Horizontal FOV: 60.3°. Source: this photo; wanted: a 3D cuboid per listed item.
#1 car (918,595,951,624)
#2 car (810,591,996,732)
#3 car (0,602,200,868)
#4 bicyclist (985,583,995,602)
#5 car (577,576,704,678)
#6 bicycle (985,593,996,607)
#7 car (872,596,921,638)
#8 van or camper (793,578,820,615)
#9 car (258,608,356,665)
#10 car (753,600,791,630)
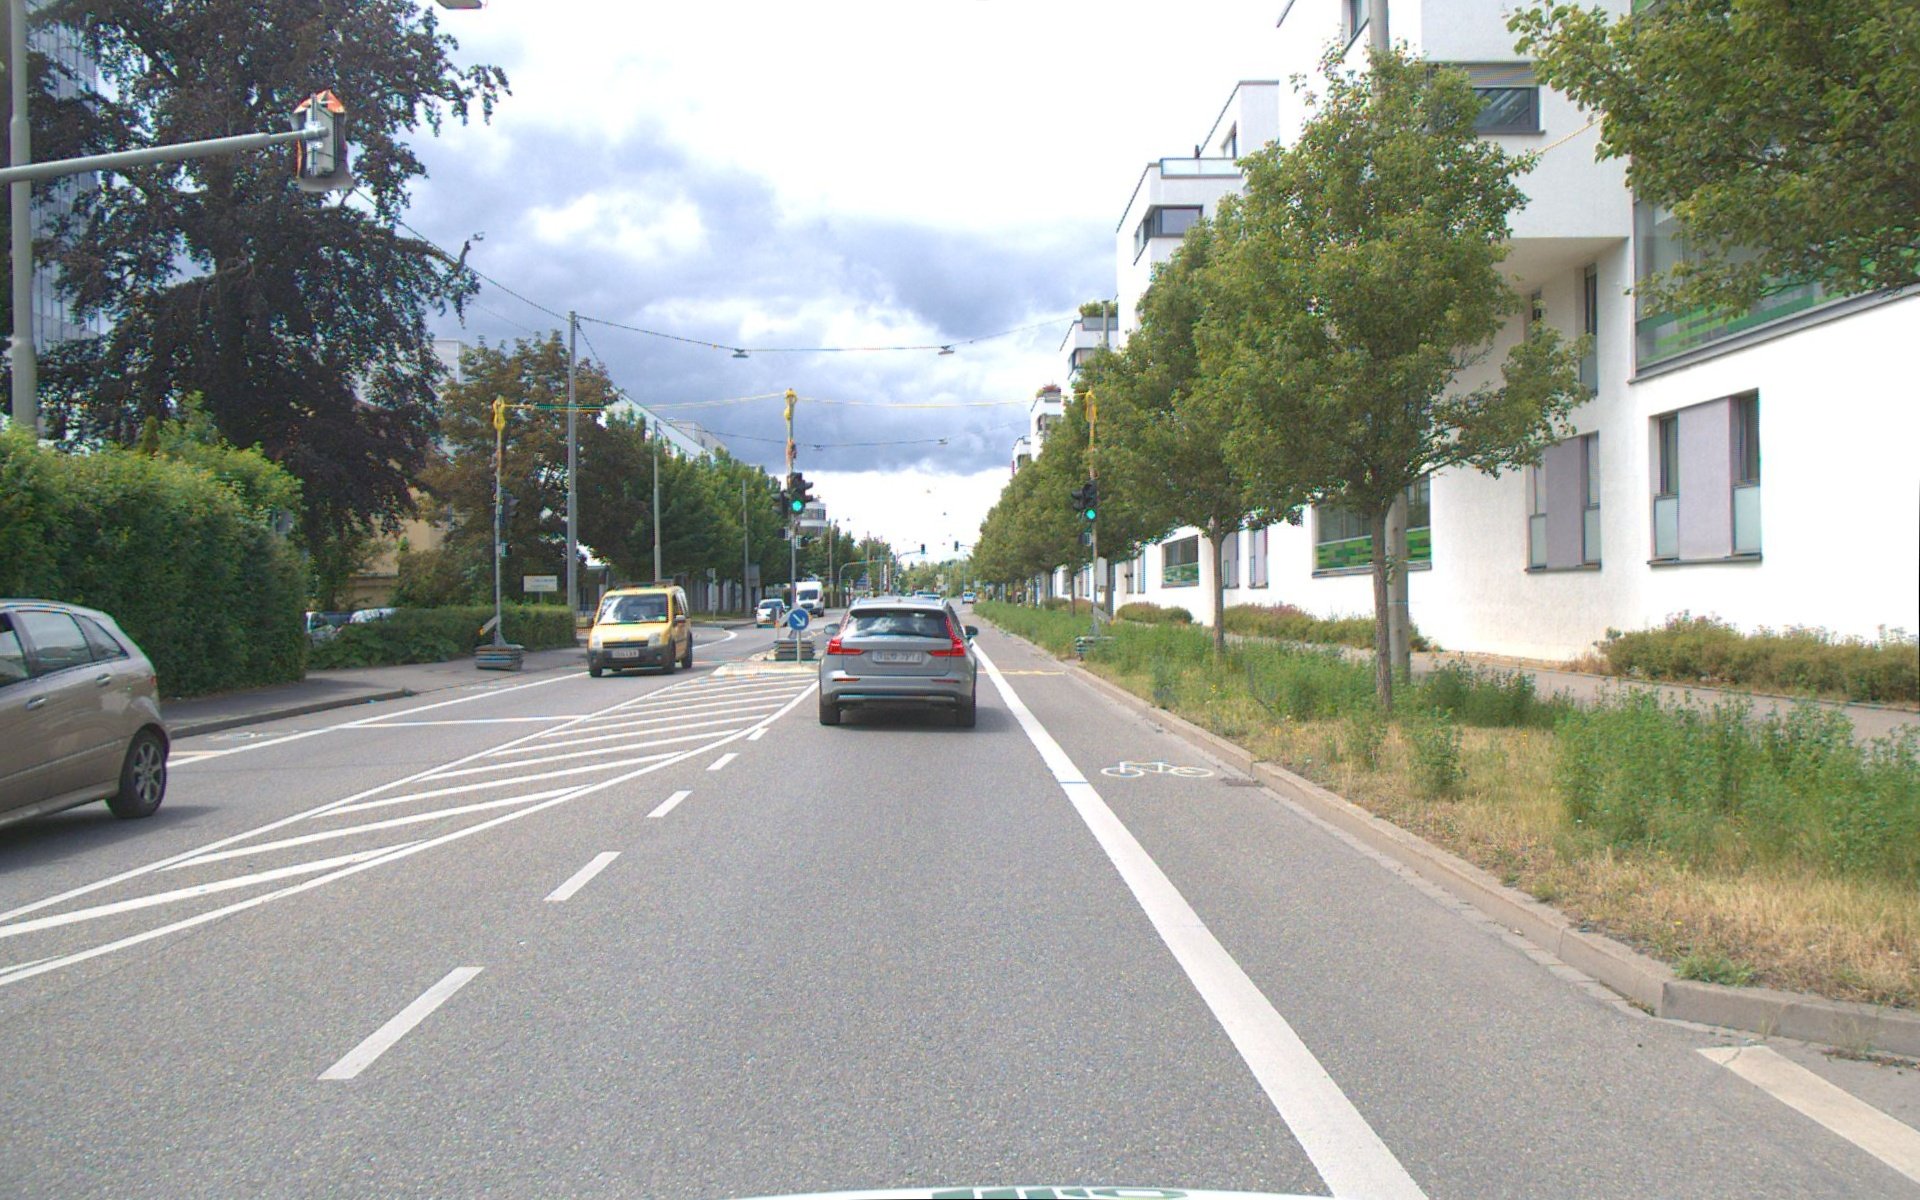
[{"bbox_3d":[-1.473,0.513,92.664,1.807,1.539,3.999,0,0,-2],"label":"car"},{"bbox_3d":[-0.591,0.674,20.305,1.815,1.539,4.002,1,0,5],"label":"car"},{"bbox_3d":[-6.654,0.845,10.414,1.714,1.583,4.401,-2,0,-1],"label":"car"},{"bbox_3d":[3.338,-0.795,181.971,0.993,2.049,1.131,-2,0,-2],"label":"bicyclist"},{"bbox_3d":[-6.627,0.517,34.779,1.804,1.938,4.684,-2,0,-1],"label":"car"},{"bbox_3d":[3.390,-0.053,181.990,1.045,1.478,2.976,-2,0,-2],"label":"bicycle"},{"bbox_3d":[-2.414,0.610,63.223,1.817,1.539,3.999,0,0,-2],"label":"car"},{"bbox_3d":[-11.953,-0.252,129.220,1.955,2.781,6.046,-2,0,-5],"label":"van or camper"},{"bbox_3d":[-19.058,1.044,48.401,1.628,1.542,3.434,-1,0,-3],"label":"car"},{"bbox_3d":[-10.140,0.807,89.295,1.627,1.542,3.999,-1,0,-1],"label":"car"}]
